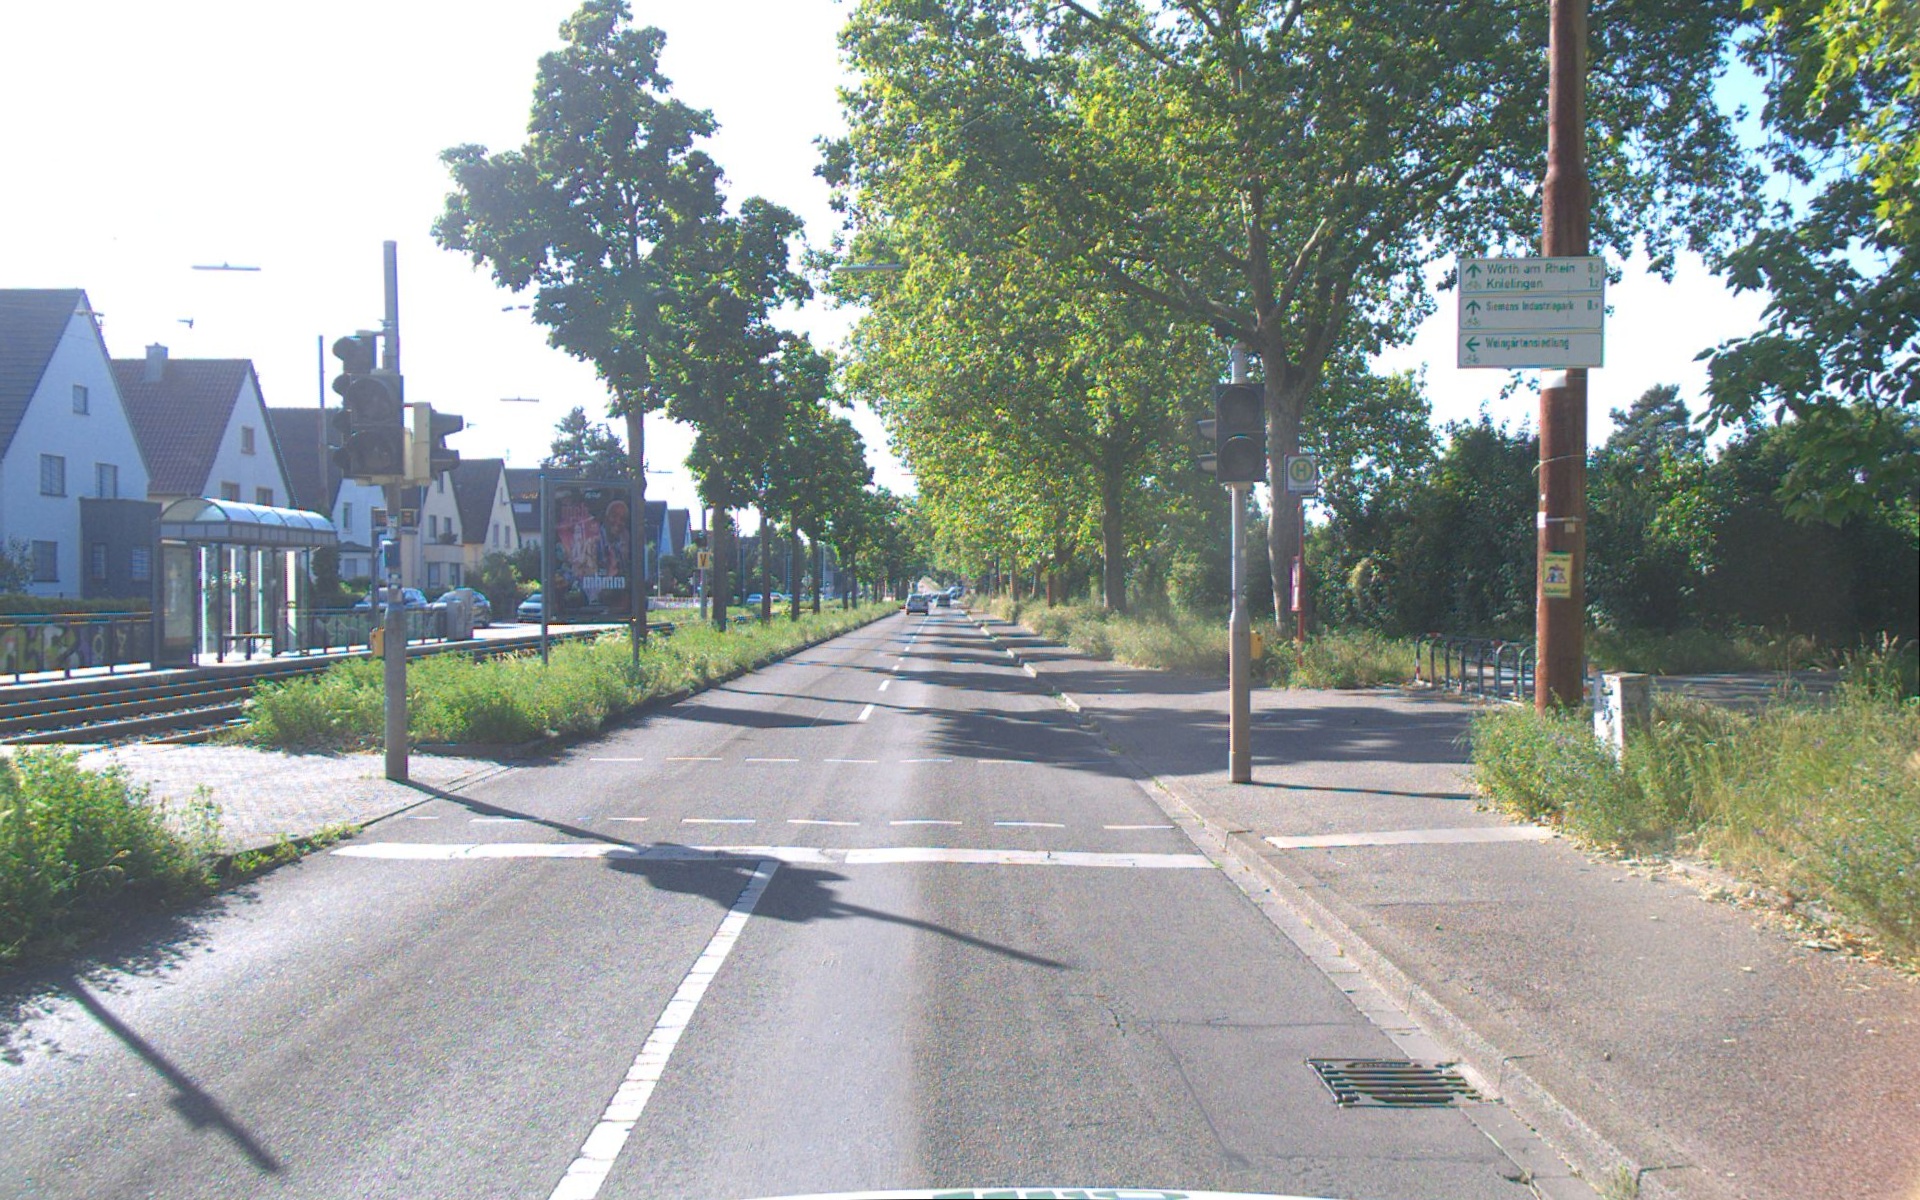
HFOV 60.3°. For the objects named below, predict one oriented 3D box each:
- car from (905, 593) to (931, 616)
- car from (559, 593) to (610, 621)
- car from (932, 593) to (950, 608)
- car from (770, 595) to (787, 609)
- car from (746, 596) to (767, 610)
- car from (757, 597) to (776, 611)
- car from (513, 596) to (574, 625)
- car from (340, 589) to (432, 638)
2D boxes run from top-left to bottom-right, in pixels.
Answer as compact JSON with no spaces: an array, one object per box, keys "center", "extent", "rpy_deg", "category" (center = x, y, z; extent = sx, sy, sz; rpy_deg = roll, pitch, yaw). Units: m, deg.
[{"center":[-3.023,0.320,119.259],"extent":[1.822,1.629,4.227],"rpy_deg":[1,0,-1],"category":"car"},{"center":[-21.562,0.382,94.996],"extent":[1.953,1.475,4.127],"rpy_deg":[3,0,-1],"category":"car"},{"center":[-2.185,0.071,190.936],"extent":[1.953,1.631,4.472],"rpy_deg":[1,0,-1],"category":"car"},{"center":[-22.339,0.287,203.639],"extent":[1.712,1.679,4.554],"rpy_deg":[1,0,-1],"category":"car"},{"center":[-22.600,0.339,183.433],"extent":[1.822,1.569,4.227],"rpy_deg":[1,0,-1],"category":"car"},{"center":[-22.477,0.462,192.583],"extent":[1.694,1.491,4.601],"rpy_deg":[1,0,-1],"category":"car"},{"center":[-21.573,0.539,85.857],"extent":[1.952,1.451,4.410],"rpy_deg":[1,0,1],"category":"car"},{"center":[-21.574,0.494,62.379],"extent":[1.953,1.743,4.390],"rpy_deg":[1,0,-1],"category":"car"}]
